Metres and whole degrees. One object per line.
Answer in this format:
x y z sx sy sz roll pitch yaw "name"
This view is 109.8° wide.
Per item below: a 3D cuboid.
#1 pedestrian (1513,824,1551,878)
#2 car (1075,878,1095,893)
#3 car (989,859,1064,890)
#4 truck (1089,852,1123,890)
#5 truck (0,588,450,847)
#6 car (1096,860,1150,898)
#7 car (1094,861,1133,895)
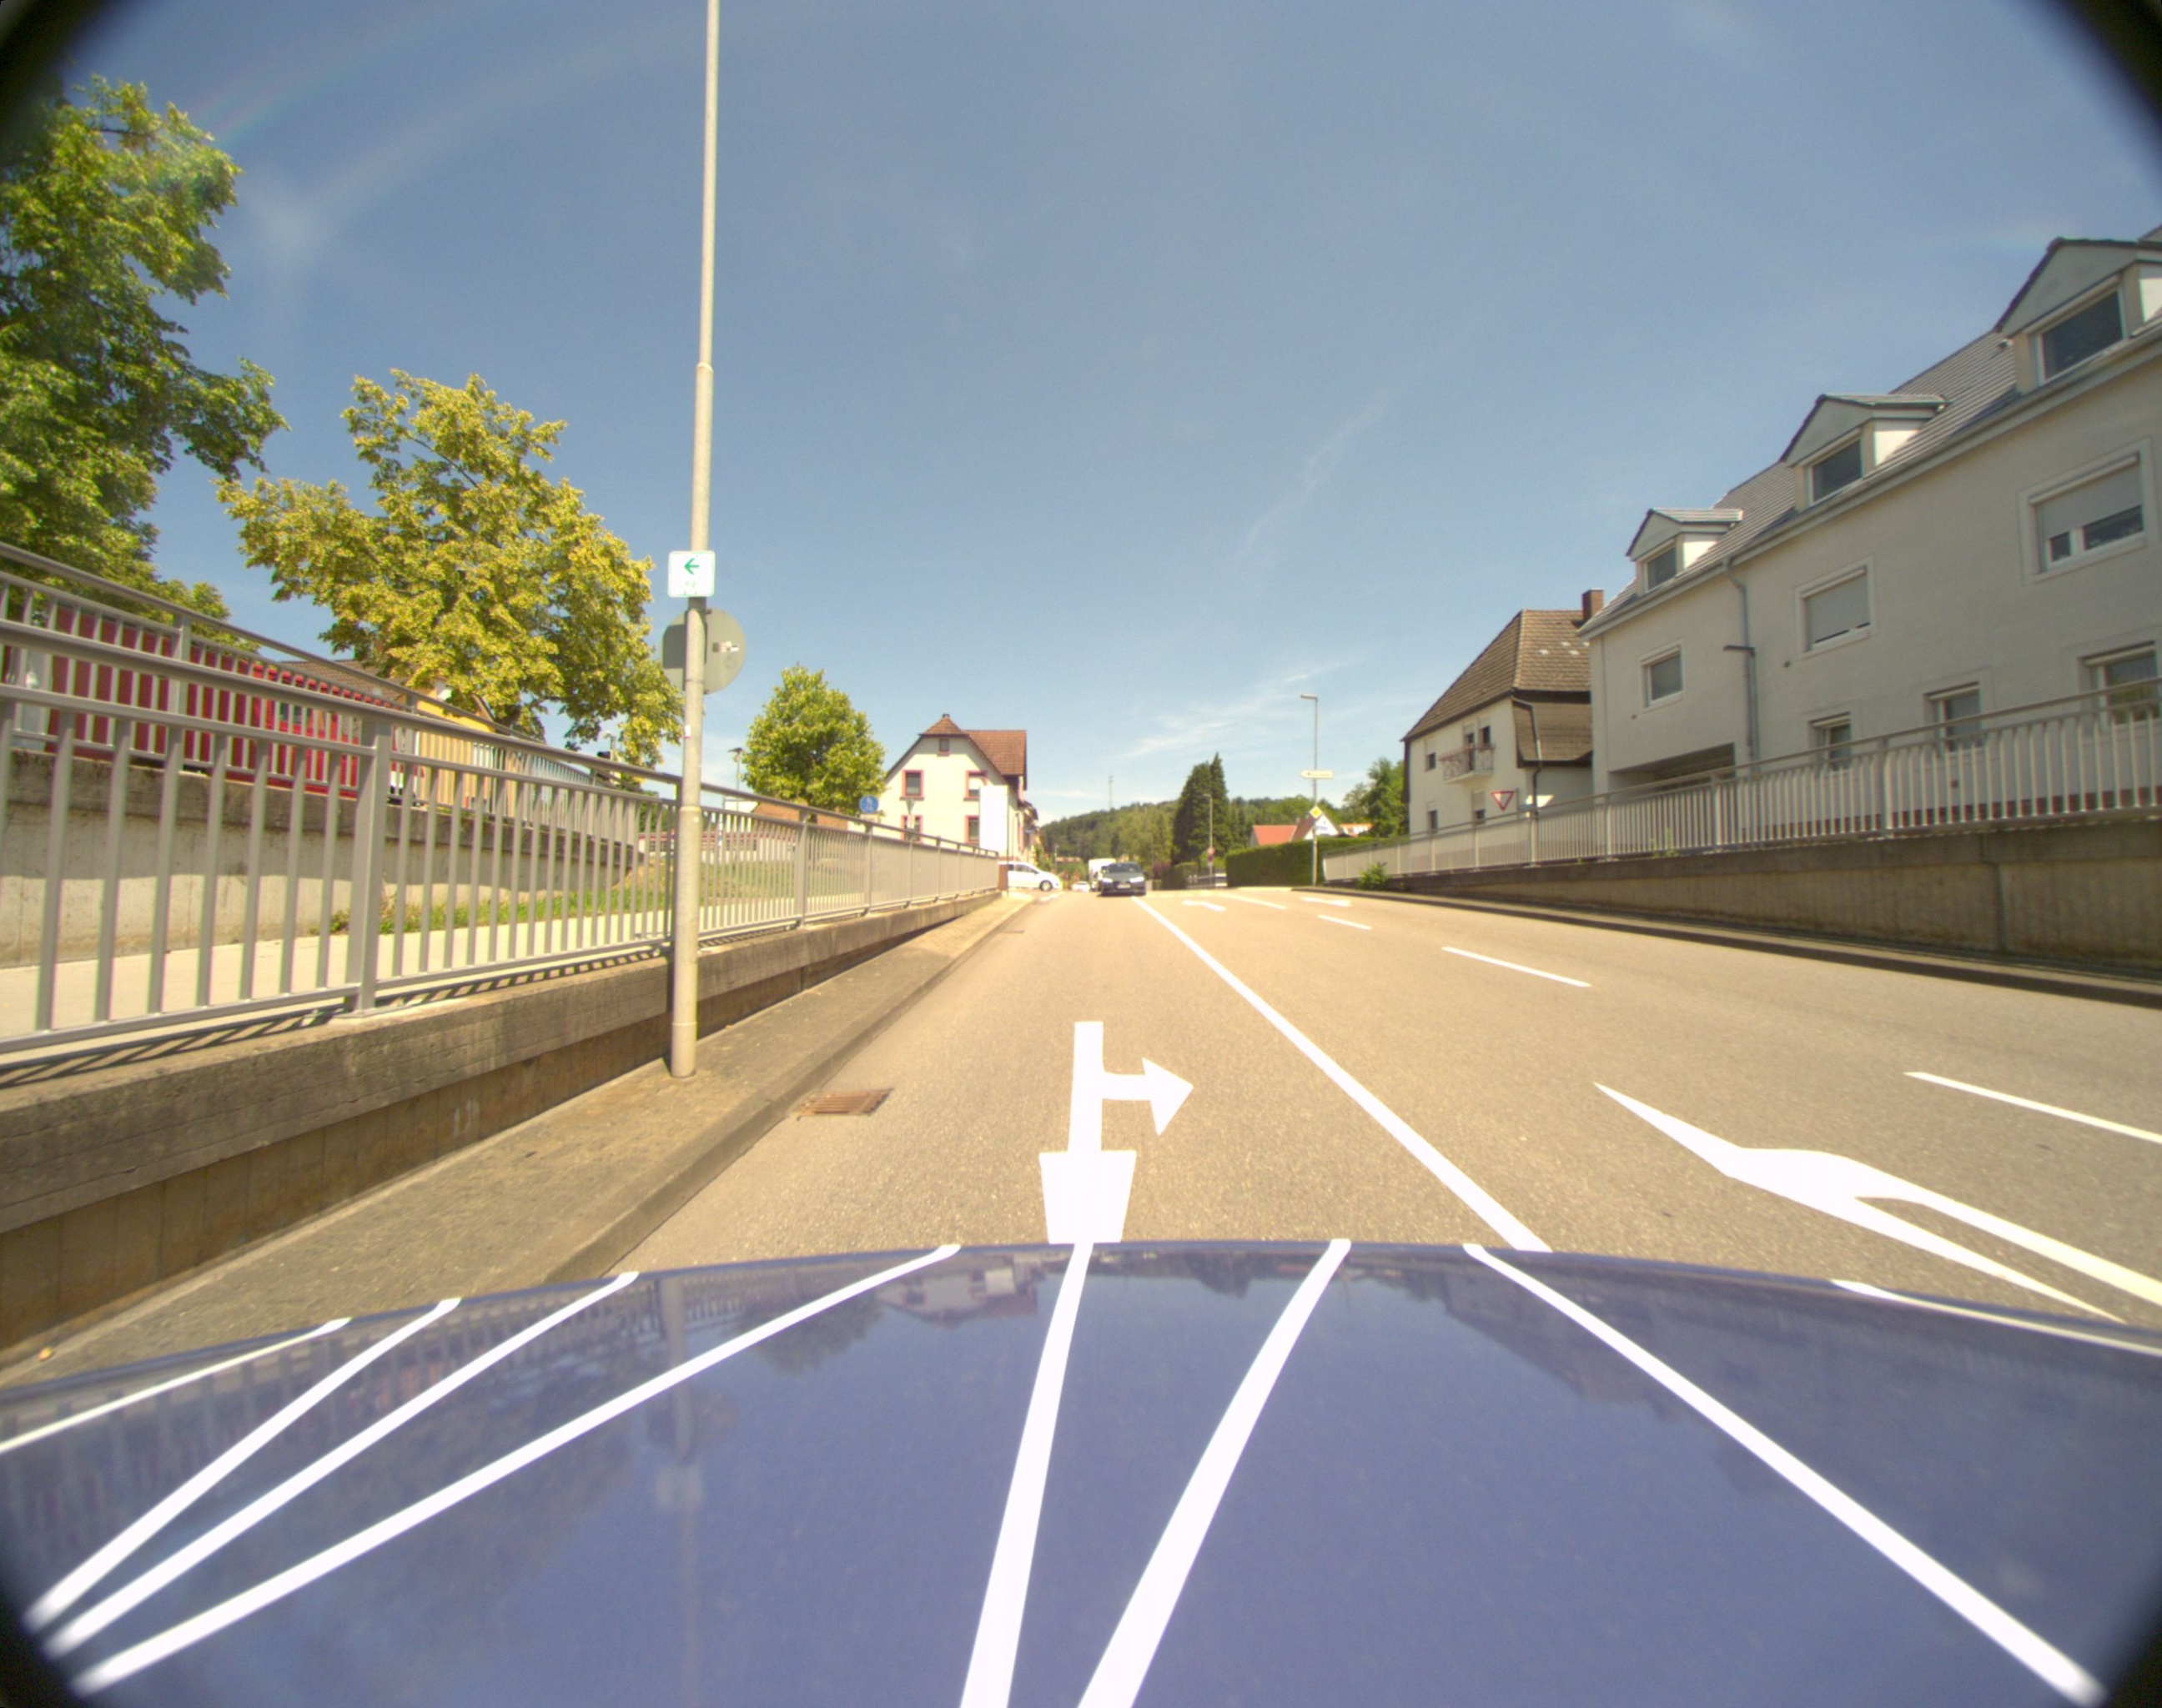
15.020 -0.095 25.319 0.729 1.719 0.856 -2 0 -3 "pedestrian"
0.445 3.689 88.673 1.998 1.509 4.147 4 -3 4 "car"
-2.772 1.061 38.727 3.681 1.469 1.775 1 -1 -5 "car"
2.365 1.779 75.947 3.149 3.465 8.275 -1 -2 0 "truck"
-11.885 -1.418 10.339 2.137 2.319 5.262 -1 -3 0 "truck"
1.657 0.987 31.297 1.864 1.441 4.000 -1 -1 -2 "car"
2.055 1.520 49.085 1.999 2.001 4.548 -2 -1 -3 "car"
